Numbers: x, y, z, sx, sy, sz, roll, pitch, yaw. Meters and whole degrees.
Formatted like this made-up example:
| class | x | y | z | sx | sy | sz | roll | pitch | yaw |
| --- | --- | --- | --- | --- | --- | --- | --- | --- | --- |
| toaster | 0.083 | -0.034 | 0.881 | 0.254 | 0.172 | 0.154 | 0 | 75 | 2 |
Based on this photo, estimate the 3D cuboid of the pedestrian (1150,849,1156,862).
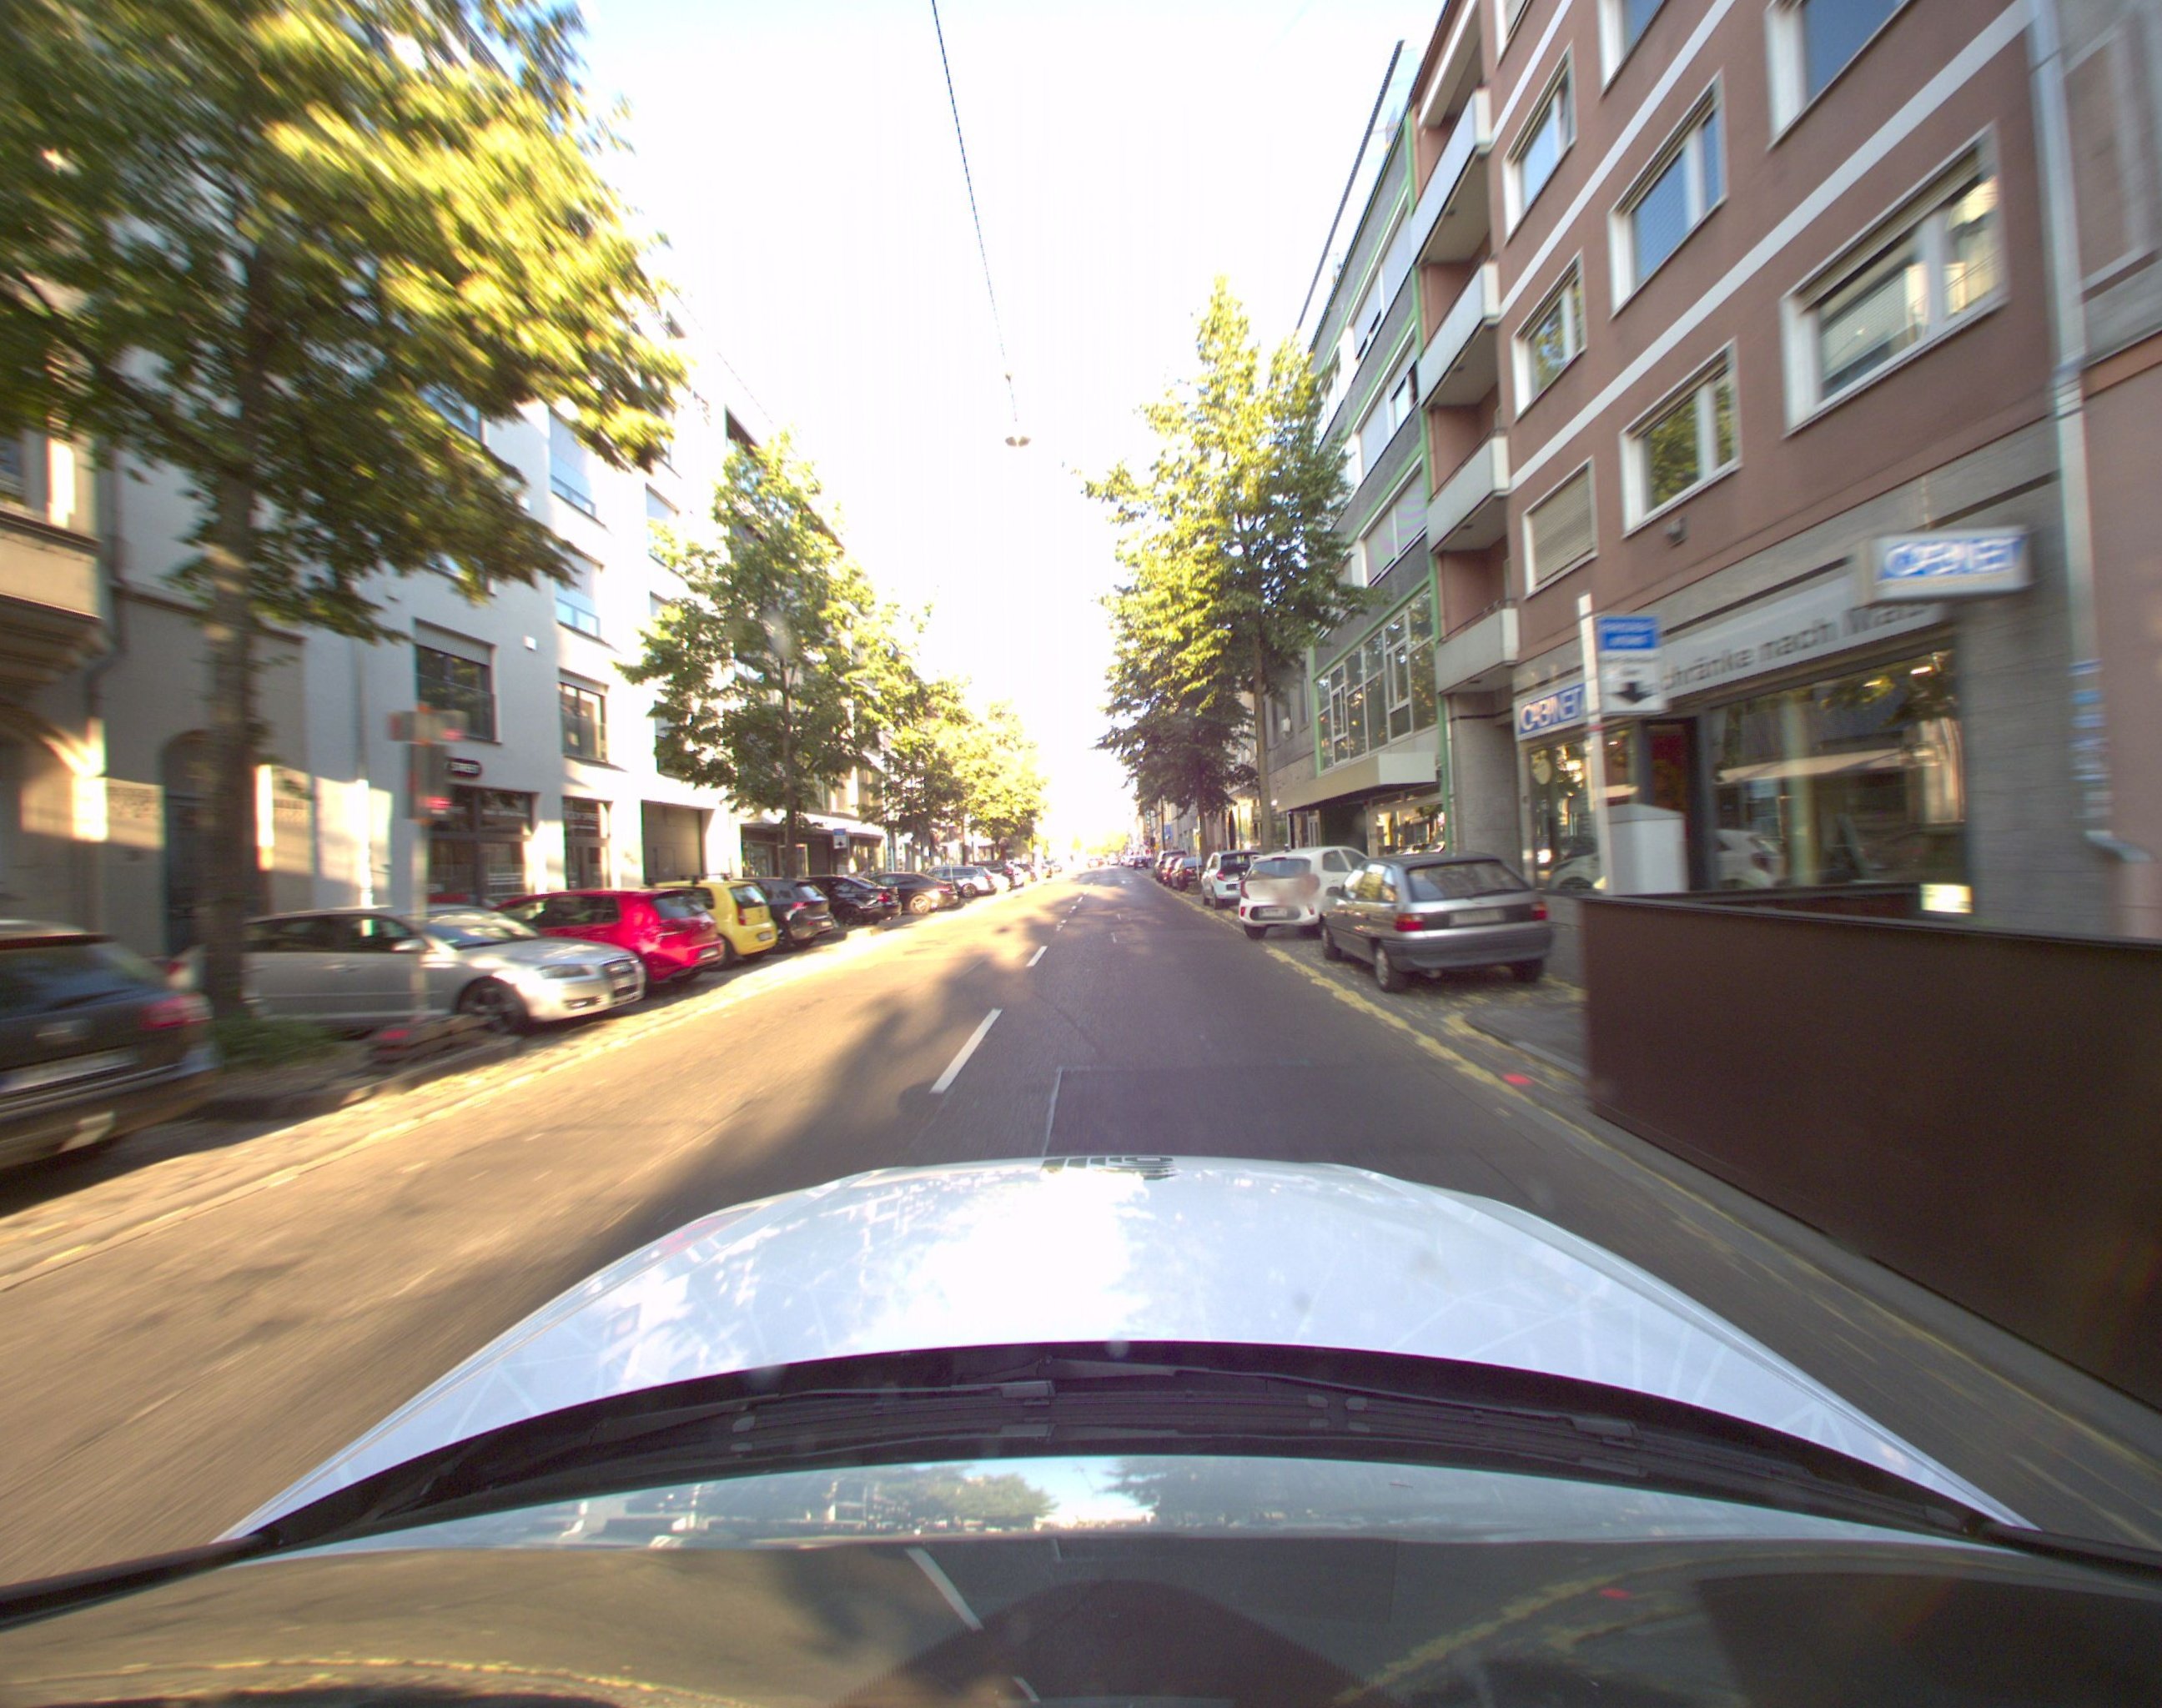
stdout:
| class | x | y | z | sx | sy | sz | roll | pitch | yaw |
| --- | --- | --- | --- | --- | --- | --- | --- | --- | --- |
| pedestrian | 8.574 | 0.161 | 97.227 | 0.602 | 1.599 | 0.774 | -2 | -1 | 1 |

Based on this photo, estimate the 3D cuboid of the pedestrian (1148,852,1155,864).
| class | x | y | z | sx | sy | sz | roll | pitch | yaw |
| --- | --- | --- | --- | --- | --- | --- | --- | --- | --- |
| pedestrian | 9.966 | 0.561 | 114.573 | 0.770 | 1.711 | 1.042 | -5 | -1 | 1 |

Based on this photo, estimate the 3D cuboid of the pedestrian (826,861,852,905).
| class | x | y | z | sx | sy | sz | roll | pitch | yaw |
| --- | --- | --- | --- | --- | --- | --- | --- | --- | --- |
| pedestrian | -9.845 | 1.182 | 33.176 | 0.716 | 1.749 | 0.934 | 0 | 0 | 2 |

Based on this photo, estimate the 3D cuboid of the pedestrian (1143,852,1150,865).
| class | x | y | z | sx | sy | sz | roll | pitch | yaw |
| --- | --- | --- | --- | --- | --- | --- | --- | --- | --- |
| pedestrian | 9.173 | 0.595 | 114.522 | 0.770 | 1.827 | 1.011 | -5 | -1 | 1 |

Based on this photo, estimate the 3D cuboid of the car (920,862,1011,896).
| class | x | y | z | sx | sy | sz | roll | pitch | yaw |
| --- | --- | --- | --- | --- | --- | --- | --- | --- | --- |
| car | -5.997 | 1.303 | 42.627 | 4.391 | 1.596 | 1.890 | -2 | 0 | 0 |

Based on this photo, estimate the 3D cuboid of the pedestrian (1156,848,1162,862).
| class | x | y | z | sx | sy | sz | roll | pitch | yaw |
| --- | --- | --- | --- | --- | --- | --- | --- | --- | --- |
| pedestrian | 9.319 | 0.156 | 97.245 | 0.602 | 1.599 | 0.774 | -2 | -1 | 1 |

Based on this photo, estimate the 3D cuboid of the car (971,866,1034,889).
| class | x | y | z | sx | sy | sz | roll | pitch | yaw |
| --- | --- | --- | --- | --- | --- | --- | --- | --- | --- |
| car | -5.478 | 1.629 | 57.346 | 4.080 | 1.403 | 1.845 | -3 | -1 | 3 |

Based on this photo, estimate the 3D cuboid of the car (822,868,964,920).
| class | x | y | z | sx | sy | sz | roll | pitch | yaw |
| --- | --- | --- | --- | --- | --- | --- | --- | --- | --- |
| car | -6.217 | 1.313 | 27.269 | 4.258 | 1.484 | 1.745 | -2 | 0 | 2 |

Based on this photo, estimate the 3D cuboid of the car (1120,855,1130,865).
| class | x | y | z | sx | sy | sz | roll | pitch | yaw |
| --- | --- | --- | --- | --- | --- | --- | --- | --- | --- |
| car | 7.966 | 1.124 | 147.258 | 1.723 | 1.651 | 4.285 | -1 | -1 | 1 |

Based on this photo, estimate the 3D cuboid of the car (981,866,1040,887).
| class | x | y | z | sx | sy | sz | roll | pitch | yaw |
| --- | --- | --- | --- | --- | --- | --- | --- | --- | --- |
| car | -5.119 | 1.636 | 59.515 | 4.094 | 1.403 | 1.883 | -2 | 0 | -1 |

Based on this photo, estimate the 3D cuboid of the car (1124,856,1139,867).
| class | x | y | z | sx | sy | sz | roll | pitch | yaw |
| --- | --- | --- | --- | --- | --- | --- | --- | --- | --- |
| car | 7.056 | 1.061 | 113.279 | 1.753 | 1.537 | 4.820 | -1 | -1 | 0 |

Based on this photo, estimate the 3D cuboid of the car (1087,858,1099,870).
| class | x | y | z | sx | sy | sz | roll | pitch | yaw |
| --- | --- | --- | --- | --- | --- | --- | --- | --- | --- |
| car | 1.895 | 1.569 | 128.771 | 1.890 | 1.649 | 4.105 | -2 | -1 | 1 |

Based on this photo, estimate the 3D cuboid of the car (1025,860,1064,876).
| class | x | y | z | sx | sy | sz | roll | pitch | yaw |
| --- | --- | --- | --- | --- | --- | --- | --- | --- | --- |
| car | -4.501 | 1.715 | 101.049 | 4.415 | 1.692 | 1.874 | -3 | 1 | 13 |

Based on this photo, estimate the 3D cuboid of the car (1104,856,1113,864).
| class | x | y | z | sx | sy | sz | roll | pitch | yaw |
| --- | --- | --- | --- | --- | --- | --- | --- | --- | --- |
| car | 5.842 | 1.241 | 174.913 | 1.890 | 1.581 | 3.853 | -3 | 0 | 1 |

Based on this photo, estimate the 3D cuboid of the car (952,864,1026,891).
| class | x | y | z | sx | sy | sz | roll | pitch | yaw |
| --- | --- | --- | --- | --- | --- | --- | --- | --- | --- |
| car | -5.361 | 1.369 | 47.840 | 4.137 | 1.421 | 1.766 | -2 | -1 | -1 |

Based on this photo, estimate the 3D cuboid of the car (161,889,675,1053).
| class | x | y | z | sx | sy | sz | roll | pitch | yaw |
| --- | --- | --- | --- | --- | --- | --- | --- | --- | --- |
| car | -6.892 | 1.176 | 8.830 | 4.030 | 1.387 | 1.743 | -2 | 0 | -2 |

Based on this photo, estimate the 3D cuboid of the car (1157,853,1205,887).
| class | x | y | z | sx | sy | sz | roll | pitch | yaw |
| --- | --- | --- | --- | --- | --- | --- | --- | --- | --- |
| car | 4.891 | 0.770 | 40.343 | 1.724 | 1.487 | 3.899 | -5 | 0 | -1 |

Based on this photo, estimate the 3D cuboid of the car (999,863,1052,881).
| class | x | y | z | sx | sy | sz | roll | pitch | yaw |
| --- | --- | --- | --- | --- | --- | --- | --- | --- | --- |
| car | -4.900 | 1.557 | 72.099 | 4.555 | 1.407 | 1.821 | -2 | 0 | 0 |

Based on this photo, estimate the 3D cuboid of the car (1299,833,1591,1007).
| class | x | y | z | sx | sy | sz | roll | pitch | yaw |
| --- | --- | --- | --- | --- | --- | --- | --- | --- | --- |
| car | 4.022 | 0.635 | 9.809 | 1.818 | 1.473 | 3.995 | -7 | 0 | 4 |

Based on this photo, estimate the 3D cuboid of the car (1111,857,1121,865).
| class | x | y | z | sx | sy | sz | roll | pitch | yaw |
| --- | --- | --- | --- | --- | --- | --- | --- | --- | --- |
| car | 6.852 | 1.455 | 161.622 | 1.890 | 1.581 | 4.001 | -1 | -1 | 1 |

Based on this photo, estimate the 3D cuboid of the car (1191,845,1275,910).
| class | x | y | z | sx | sy | sz | roll | pitch | yaw |
| --- | --- | --- | --- | --- | --- | --- | --- | --- | --- |
| car | 4.206 | 0.615 | 23.022 | 1.685 | 1.543 | 3.554 | -5 | 0 | 1 |

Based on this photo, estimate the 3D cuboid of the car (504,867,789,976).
| class | x | y | z | sx | sy | sz | roll | pitch | yaw |
| --- | --- | --- | --- | --- | --- | --- | --- | --- | --- |
| car | -7.267 | 1.096 | 13.925 | 3.854 | 1.567 | 1.744 | -2 | 0 | -1 |

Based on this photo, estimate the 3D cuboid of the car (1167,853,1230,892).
| class | x | y | z | sx | sy | sz | roll | pitch | yaw |
| --- | --- | --- | --- | --- | --- | --- | --- | --- | --- |
| car | 4.996 | 0.764 | 35.283 | 1.946 | 1.390 | 4.423 | -5 | 0 | -1 |

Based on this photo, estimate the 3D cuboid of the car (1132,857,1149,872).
| class | x | y | z | sx | sy | sz | roll | pitch | yaw |
| --- | --- | --- | --- | --- | --- | --- | --- | --- | --- |
| car | 6.860 | 1.230 | 94.581 | 1.752 | 1.536 | 4.003 | -6 | -1 | 3 |

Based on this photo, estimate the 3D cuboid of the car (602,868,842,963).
| class | x | y | z | sx | sy | sz | roll | pitch | yaw |
| --- | --- | --- | --- | --- | --- | --- | --- | --- | --- |
| car | -6.925 | 1.156 | 16.001 | 3.854 | 1.567 | 1.744 | -2 | 0 | -1 |

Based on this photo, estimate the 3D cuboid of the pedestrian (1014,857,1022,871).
| class | x | y | z | sx | sy | sz | roll | pitch | yaw |
| --- | --- | --- | --- | --- | --- | --- | --- | --- | --- |
| pedestrian | -6.835 | 1.113 | 88.101 | 0.731 | 1.528 | 0.876 | -2 | -2 | 2 |

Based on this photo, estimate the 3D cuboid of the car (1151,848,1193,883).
| class | x | y | z | sx | sy | sz | roll | pitch | yaw |
| --- | --- | --- | --- | --- | --- | --- | --- | --- | --- |
| car | 5.199 | 0.618 | 47.085 | 2.030 | 1.737 | 4.714 | -5 | 0 | 3 |

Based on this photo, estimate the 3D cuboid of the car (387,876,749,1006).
| class | x | y | z | sx | sy | sz | roll | pitch | yaw |
| --- | --- | --- | --- | --- | --- | --- | --- | --- | --- |
| car | -6.940 | 1.143 | 11.334 | 3.854 | 1.457 | 1.744 | -2 | 0 | -1 |

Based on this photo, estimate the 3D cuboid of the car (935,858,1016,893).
| class | x | y | z | sx | sy | sz | roll | pitch | yaw |
| --- | --- | --- | --- | --- | --- | --- | --- | --- | --- |
| car | -5.778 | 1.162 | 44.830 | 4.137 | 1.773 | 1.889 | -2 | -1 | -1 |

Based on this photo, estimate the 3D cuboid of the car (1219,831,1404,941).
| class | x | y | z | sx | sy | sz | roll | pitch | yaw |
| --- | --- | --- | --- | --- | --- | --- | --- | --- | --- |
| car | 4.276 | 0.526 | 14.804 | 1.644 | 1.584 | 3.646 | -6 | -1 | 43 |

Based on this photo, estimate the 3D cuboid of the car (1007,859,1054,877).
| class | x | y | z | sx | sy | sz | roll | pitch | yaw |
| --- | --- | --- | --- | --- | --- | --- | --- | --- | --- |
| car | -4.656 | 1.292 | 75.448 | 4.057 | 1.536 | 1.885 | -2 | 0 | 1 |

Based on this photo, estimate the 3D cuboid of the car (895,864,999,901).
| class | x | y | z | sx | sy | sz | roll | pitch | yaw |
| --- | --- | --- | --- | --- | --- | --- | --- | --- | --- |
| car | -6.210 | 1.307 | 38.187 | 4.536 | 1.484 | 1.743 | -2 | 0 | -3 |

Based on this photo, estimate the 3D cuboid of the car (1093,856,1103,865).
| class | x | y | z | sx | sy | sz | roll | pitch | yaw |
| --- | --- | --- | --- | --- | --- | --- | --- | --- | --- |
| car | 3.206 | 1.239 | 155.386 | 1.890 | 1.649 | 4.105 | -2 | -1 | 1 |

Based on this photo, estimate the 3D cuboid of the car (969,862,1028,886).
| class | x | y | z | sx | sy | sz | roll | pitch | yaw |
| --- | --- | --- | --- | --- | --- | --- | --- | --- | --- |
| car | -5.521 | 1.331 | 54.746 | 3.727 | 1.444 | 1.805 | -2 | -1 | -1 |

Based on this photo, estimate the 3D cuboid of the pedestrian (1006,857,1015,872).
| class | x | y | z | sx | sy | sz | roll | pitch | yaw |
| --- | --- | --- | --- | --- | --- | --- | --- | --- | --- |
| pedestrian | -7.589 | 1.103 | 87.950 | 0.769 | 1.608 | 0.876 | -2 | -2 | 2 |

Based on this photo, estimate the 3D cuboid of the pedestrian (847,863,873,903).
| class | x | y | z | sx | sy | sz | roll | pitch | yaw |
| --- | --- | --- | --- | --- | --- | --- | --- | --- | --- |
| pedestrian | -8.978 | 1.176 | 33.129 | 0.716 | 1.602 | 1.095 | 0 | 0 | 2 |

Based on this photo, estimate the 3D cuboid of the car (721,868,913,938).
| class | x | y | z | sx | sy | sz | roll | pitch | yaw |
| --- | --- | --- | --- | --- | --- | --- | --- | --- | --- |
| car | -6.652 | 1.215 | 20.836 | 4.261 | 1.484 | 1.744 | -2 | 0 | -1 |

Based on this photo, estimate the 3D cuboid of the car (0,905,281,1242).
| class | x | y | z | sx | sy | sz | roll | pitch | yaw |
| --- | --- | --- | --- | --- | --- | --- | --- | --- | --- |
| car | -7.214 | 1.141 | 4.358 | 4.167 | 1.536 | 1.745 | -2 | -1 | 1 |
